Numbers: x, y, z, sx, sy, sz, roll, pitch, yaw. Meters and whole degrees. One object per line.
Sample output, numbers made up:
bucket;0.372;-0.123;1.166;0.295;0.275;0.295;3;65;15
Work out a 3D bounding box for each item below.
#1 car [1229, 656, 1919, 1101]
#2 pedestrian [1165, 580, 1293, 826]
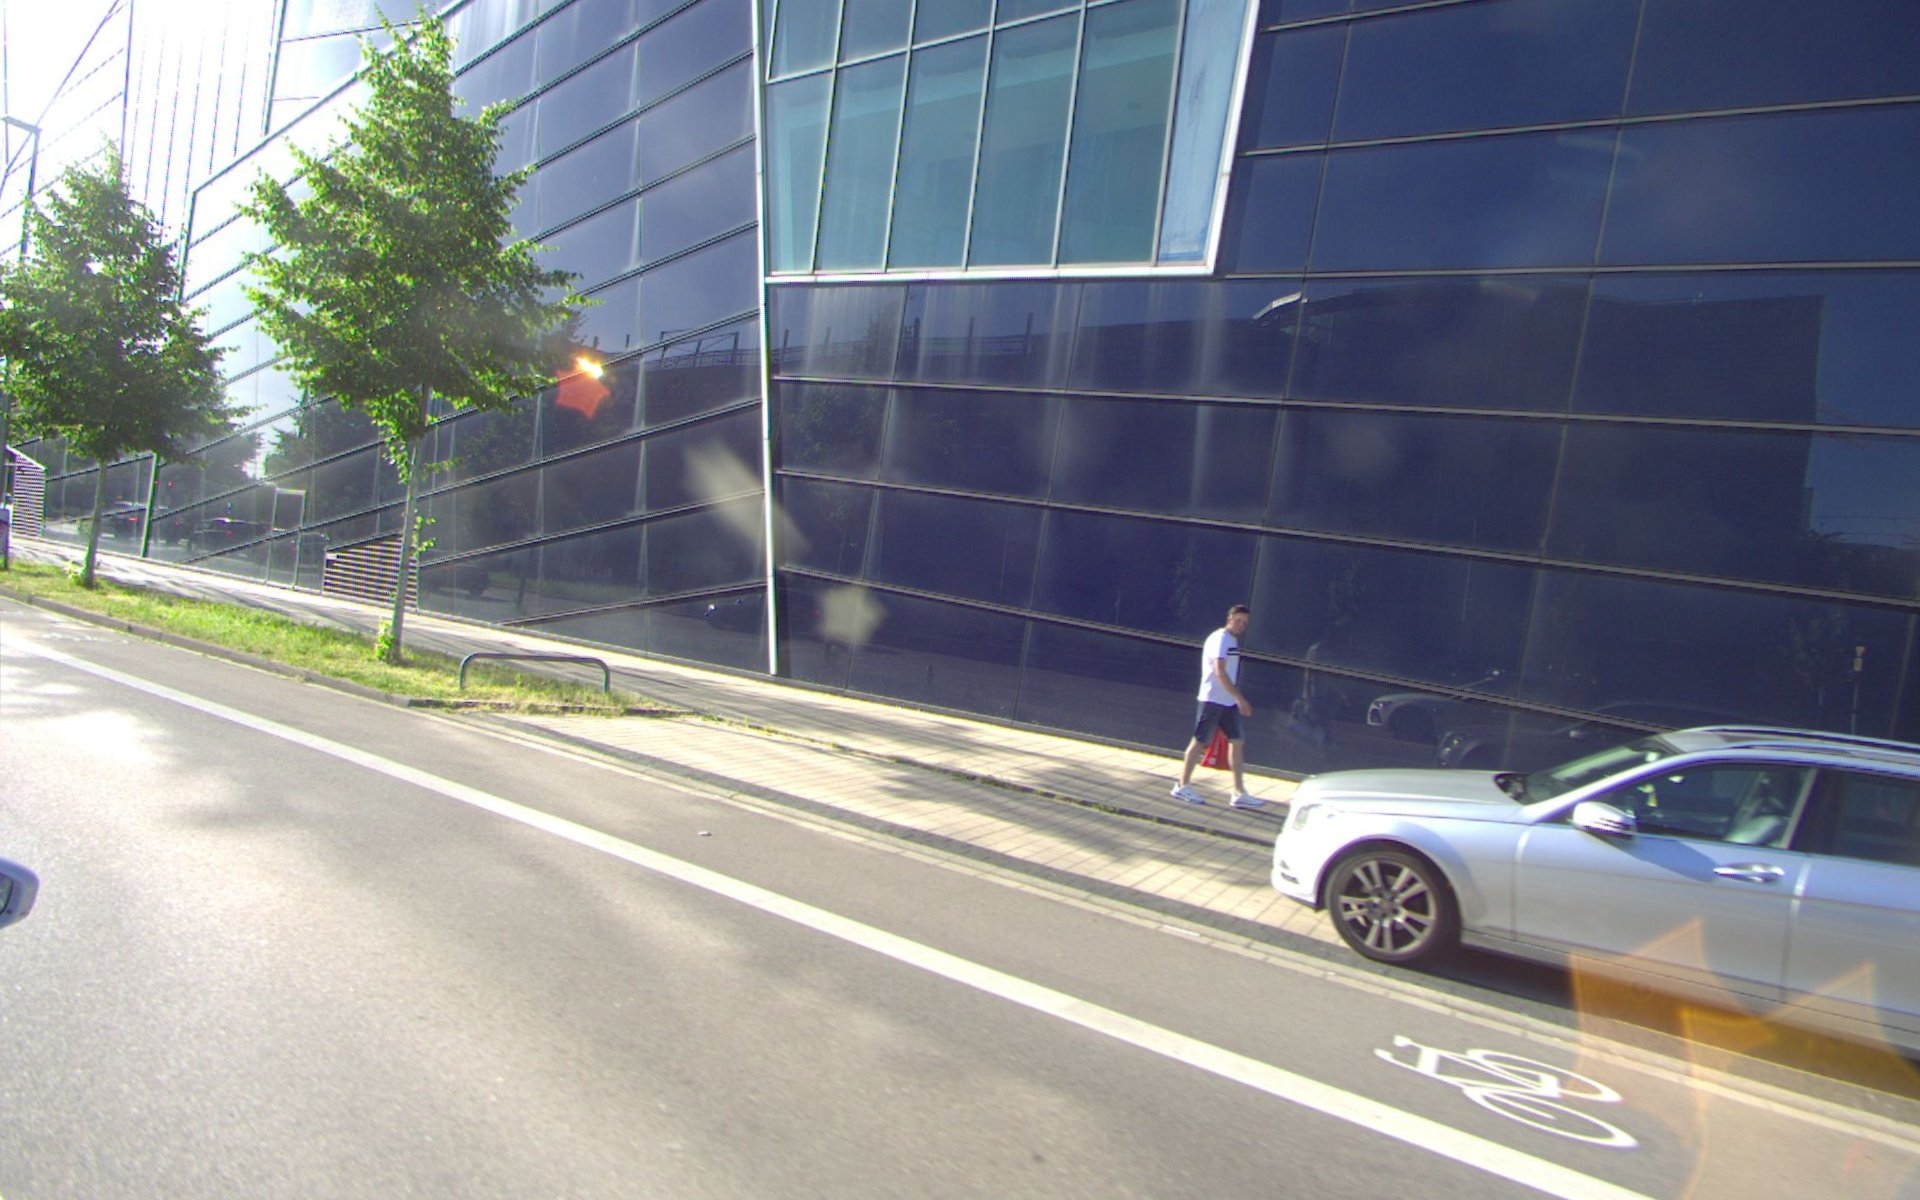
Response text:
car;4.109;1.346;5.282;4.773;1.500;1.854;7;1;32
pedestrian;2.420;0.895;9.025;0.678;2.039;0.837;7;1;33
